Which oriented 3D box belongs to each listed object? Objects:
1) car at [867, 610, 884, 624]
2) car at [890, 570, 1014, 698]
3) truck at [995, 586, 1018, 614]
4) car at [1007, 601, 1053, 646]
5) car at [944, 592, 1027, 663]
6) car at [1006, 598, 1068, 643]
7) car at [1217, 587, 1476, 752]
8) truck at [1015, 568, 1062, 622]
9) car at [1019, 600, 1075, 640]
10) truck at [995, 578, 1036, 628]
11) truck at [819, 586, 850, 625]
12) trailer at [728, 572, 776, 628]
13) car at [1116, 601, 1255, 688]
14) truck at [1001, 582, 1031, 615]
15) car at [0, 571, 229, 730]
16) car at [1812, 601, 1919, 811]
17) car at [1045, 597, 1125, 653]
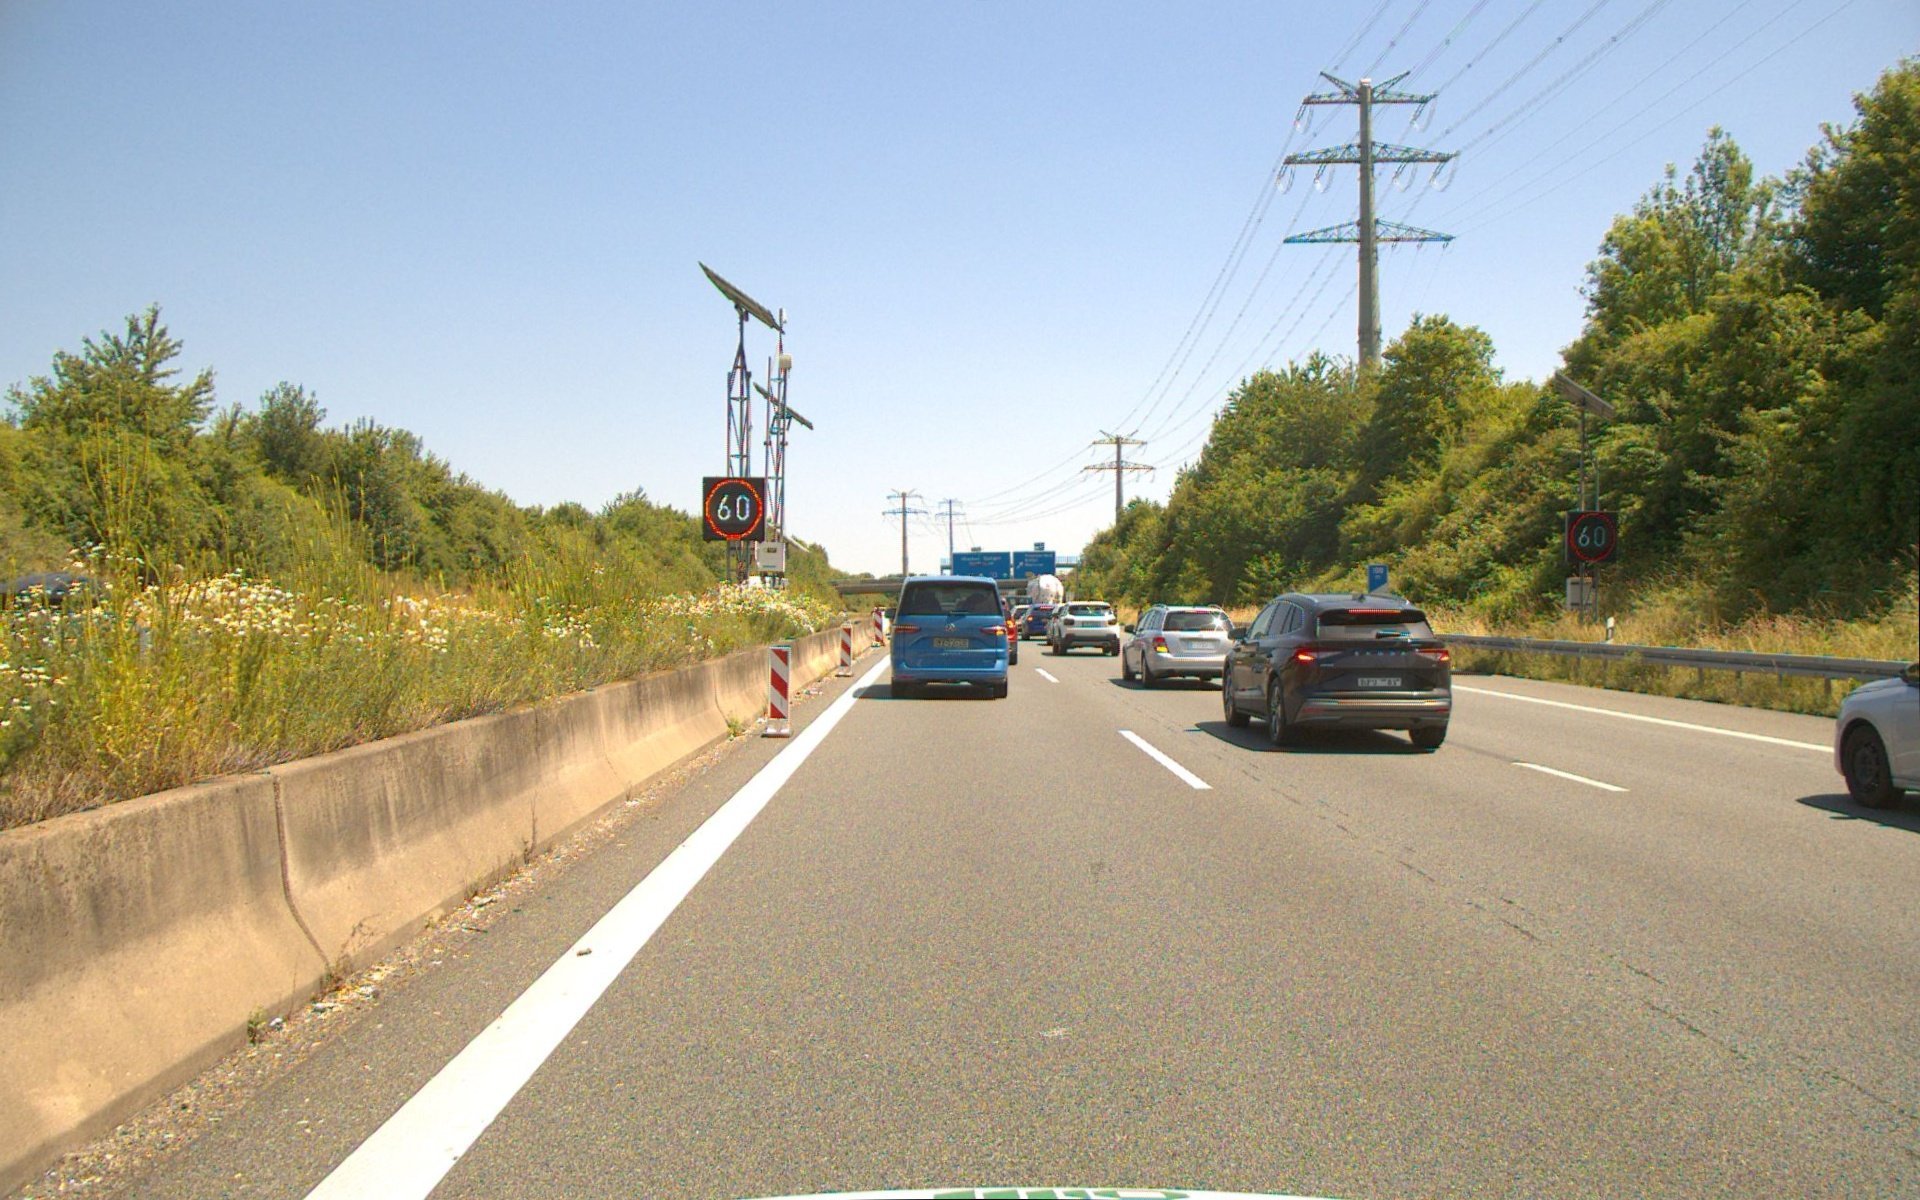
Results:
[{"bbox_3d":[-8.904,1.761,174.202,1.551,1.468,4.000,1,0,0],"label":"car"},{"bbox_3d":[-0.208,0.523,27.376,1.833,1.912,4.381,1,0,-3],"label":"car"},{"bbox_3d":[7.346,0.006,262.780,2.878,4.366,12.547,1,0,-2],"label":"truck"},{"bbox_3d":[3.349,1.104,79.880,1.953,2.049,3.999,1,0,-1],"label":"car"},{"bbox_3d":[0.577,0.654,41.016,1.870,1.659,4.382,0,0,-2],"label":"car"},{"bbox_3d":[2.768,0.728,60.447,1.870,1.542,4.381,1,0,-3],"label":"car"},{"bbox_3d":[4.227,0.686,18.820,1.791,1.642,4.429,1,0,-2],"label":"car"},{"bbox_3d":[6.435,-0.384,138.056,2.591,4.143,16.435,1,0,-2],"label":"truck"},{"bbox_3d":[3.550,0.791,68.106,1.870,1.542,4.381,1,0,-3],"label":"car"},{"bbox_3d":[3.200,0.175,95.984,1.953,2.771,5.678,1,0,-2],"label":"truck"},{"bbox_3d":[-13.288,0.585,175.926,2.707,3.956,9.027,-2,0,-1],"label":"truck"},{"bbox_3d":[-16.005,-0.016,127.614,2.901,4.128,5.433,-2,0,-1],"label":"trailer"},{"bbox_3d":[4.084,0.768,30.591,1.784,1.462,4.381,1,0,-3],"label":"car"},{"bbox_3d":[6.298,-0.169,187.210,2.591,3.600,12.547,1,0,-2],"label":"truck"},{"bbox_3d":[-11.395,0.613,21.944,1.668,1.896,3.999,-1,0,-1],"label":"car"},{"bbox_3d":[7.724,0.772,11.275,1.705,1.496,4.013,1,0,-1],"label":"car"},{"bbox_3d":[3.631,0.710,48.681,1.870,1.534,3.919,1,0,-3],"label":"car"}]
